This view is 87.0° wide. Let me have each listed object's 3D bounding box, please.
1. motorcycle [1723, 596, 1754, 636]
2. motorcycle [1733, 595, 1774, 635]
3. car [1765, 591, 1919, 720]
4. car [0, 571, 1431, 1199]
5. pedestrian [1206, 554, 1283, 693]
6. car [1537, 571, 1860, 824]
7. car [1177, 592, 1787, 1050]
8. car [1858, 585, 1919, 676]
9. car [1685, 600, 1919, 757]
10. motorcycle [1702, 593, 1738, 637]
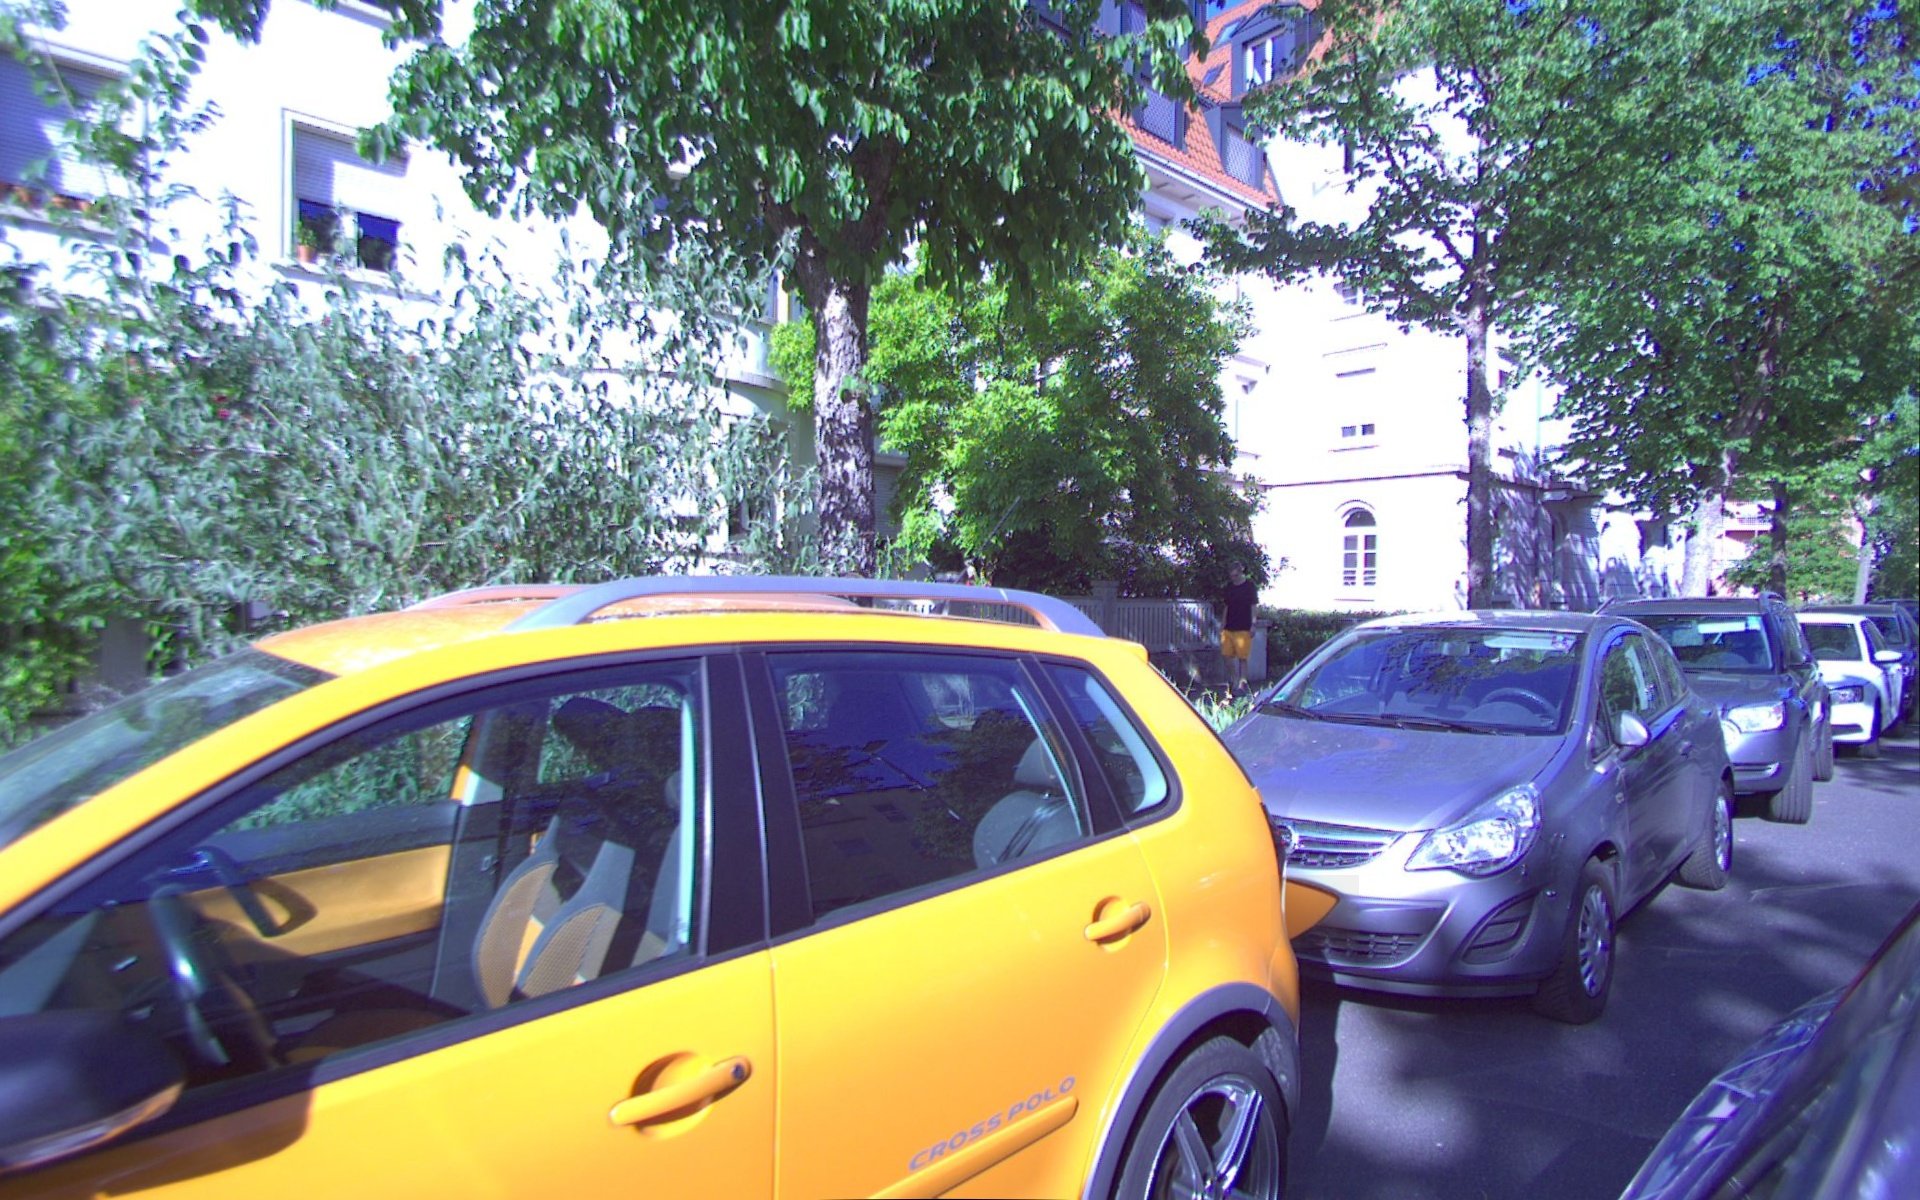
[{"bbox_3d":[26.401,0.519,34.330,0.656,1.295,1.773,3,2,42],"label":"motorcycle"},{"bbox_3d":[27.827,0.507,35.491,0.970,1.345,1.824,1,0,43],"label":"motorcycle"},{"bbox_3d":[13.187,0.711,14.698,4.459,1.608,1.685,0,-2,-43],"label":"car"},{"bbox_3d":[-0.879,0.700,1.787,4.029,1.473,1.639,0,1,-42],"label":"car"},{"bbox_3d":[3.802,0.292,13.534,0.786,1.797,0.623,1,1,-41],"label":"pedestrian"},{"bbox_3d":[6.423,0.639,8.641,3.784,1.676,1.649,0,0,-45],"label":"car"},{"bbox_3d":[2.821,0.715,5.113,3.552,1.446,1.651,0,1,-43],"label":"car"},{"bbox_3d":[19.957,0.598,20.784,4.223,1.719,1.783,0,1,-42],"label":"car"},{"bbox_3d":[9.890,0.744,11.607,4.292,1.443,1.632,0,1,-41],"label":"car"},{"bbox_3d":[24.647,0.470,32.812,2.053,1.378,0.540,0,0,-42],"label":"motorcycle"}]
